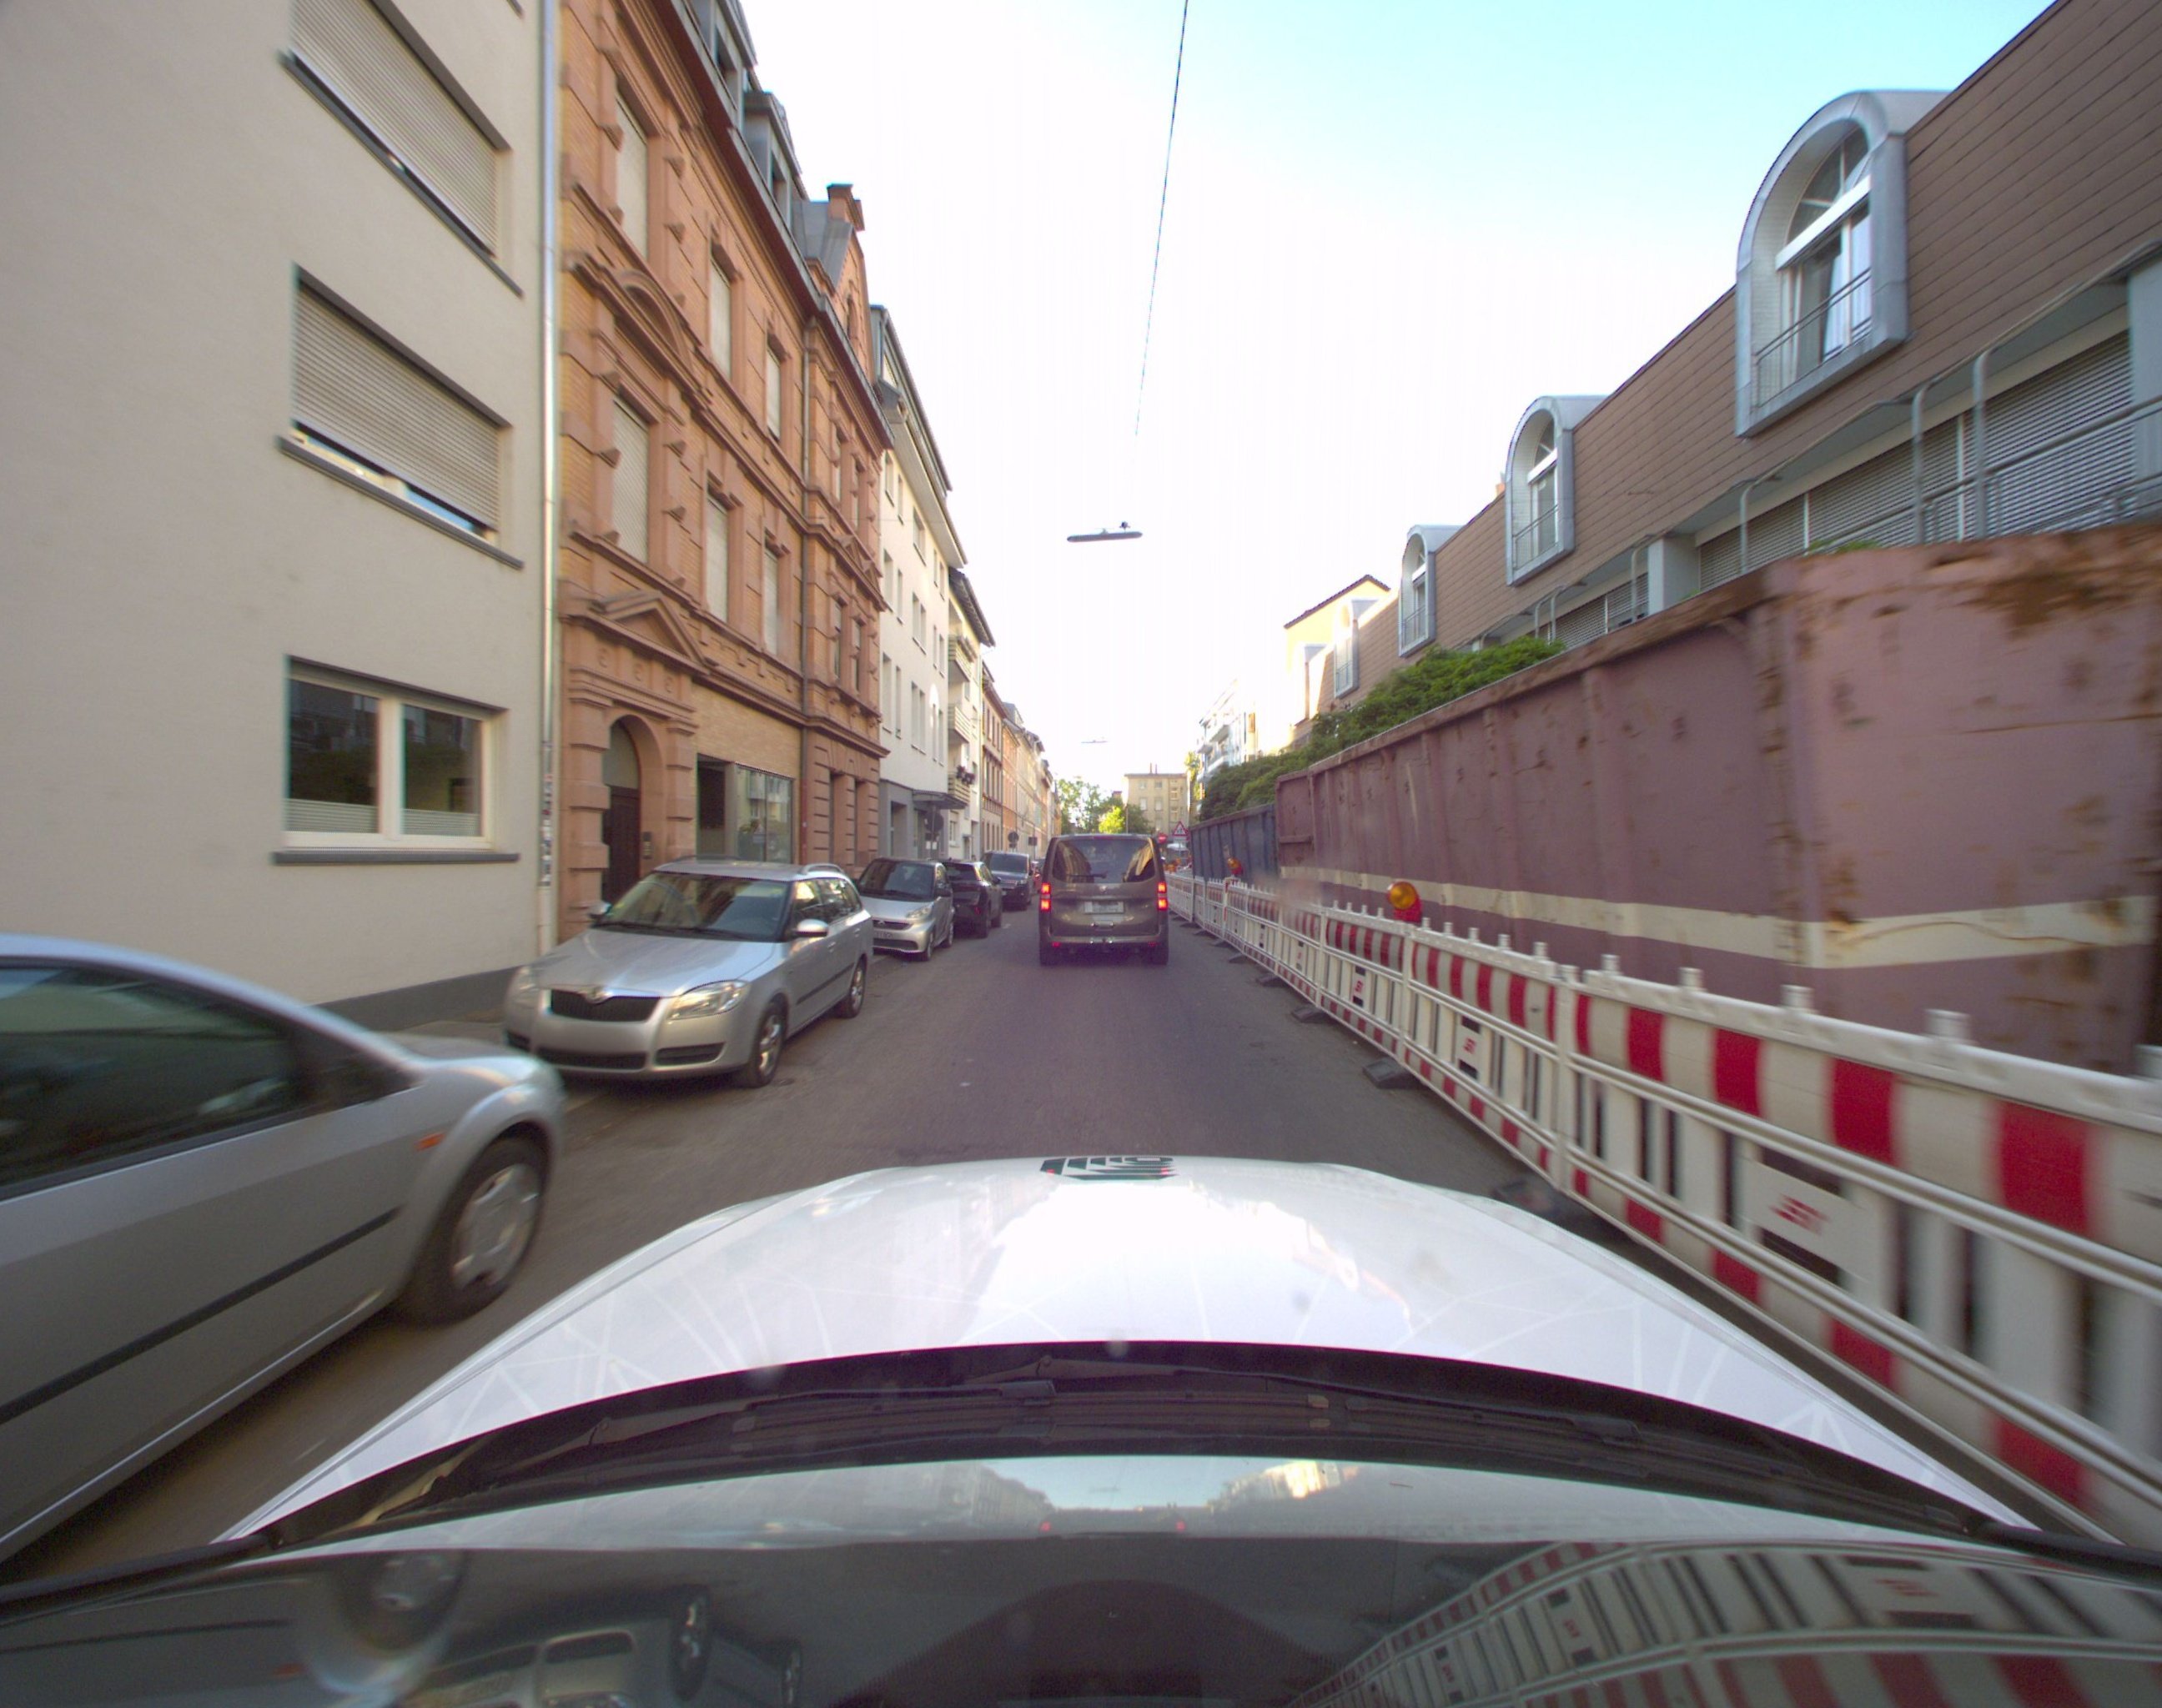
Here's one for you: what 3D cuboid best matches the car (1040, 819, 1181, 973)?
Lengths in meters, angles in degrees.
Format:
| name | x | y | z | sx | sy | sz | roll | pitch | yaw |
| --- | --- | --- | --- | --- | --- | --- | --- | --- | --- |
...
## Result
| name | x | y | z | sx | sy | sz | roll | pitch | yaw |
| --- | --- | --- | --- | --- | --- | --- | --- | --- | --- |
| car | 0.394 | 0.561 | 12.960 | 1.852 | 2.013 | 3.999 | -2 | 0 | 0 |

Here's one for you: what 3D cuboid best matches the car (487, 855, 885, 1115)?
| name | x | y | z | sx | sy | sz | roll | pitch | yaw |
| --- | --- | --- | --- | --- | --- | --- | --- | --- | --- |
| car | -2.879 | 0.821 | 6.859 | 1.551 | 1.508 | 3.596 | 4 | 0 | -1 |

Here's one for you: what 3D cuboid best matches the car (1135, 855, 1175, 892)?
| name | x | y | z | sx | sy | sz | roll | pitch | yaw |
| --- | --- | --- | --- | --- | --- | --- | --- | --- | --- |
| car | 3.593 | 0.908 | 40.128 | 1.742 | 1.683 | 4.528 | 1 | 0 | 2 |

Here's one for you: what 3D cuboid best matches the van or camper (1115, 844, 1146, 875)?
| name | x | y | z | sx | sy | sz | roll | pitch | yaw |
| --- | --- | --- | --- | --- | --- | --- | --- | --- | --- |
| van or camper | 4.394 | 0.463 | 73.480 | 2.093 | 2.602 | 7.508 | -1 | 0 | -1 |

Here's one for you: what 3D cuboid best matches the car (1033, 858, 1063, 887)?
| name | x | y | z | sx | sy | sz | roll | pitch | yaw |
| --- | --- | --- | --- | --- | --- | --- | --- | --- | --- |
| car | -2.072 | 1.145 | 51.738 | 1.706 | 1.644 | 3.978 | 3 | 0 | -1 |

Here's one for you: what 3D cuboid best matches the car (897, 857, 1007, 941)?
| name | x | y | z | sx | sy | sz | roll | pitch | yaw |
| --- | --- | --- | --- | --- | --- | --- | --- | --- | --- |
| car | -2.652 | 0.872 | 17.621 | 1.735 | 1.599 | 4.013 | 1 | 0 | 0 |

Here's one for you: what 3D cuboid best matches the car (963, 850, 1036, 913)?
| name | x | y | z | sx | sy | sz | roll | pitch | yaw |
| --- | --- | --- | --- | --- | --- | --- | --- | --- | --- |
| car | -2.562 | 0.835 | 26.752 | 1.988 | 1.858 | 4.583 | 1 | 0 | -1 |

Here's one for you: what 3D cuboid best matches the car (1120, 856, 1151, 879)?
| name | x | y | z | sx | sy | sz | roll | pitch | yaw |
| --- | --- | --- | --- | --- | --- | --- | --- | --- | --- |
| car | 3.800 | 0.928 | 57.372 | 1.718 | 1.612 | 4.584 | 0 | 0 | -2 |

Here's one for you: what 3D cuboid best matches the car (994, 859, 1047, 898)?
| name | x | y | z | sx | sy | sz | roll | pitch | yaw |
| --- | --- | --- | --- | --- | --- | --- | --- | --- | --- |
| car | -2.627 | 1.039 | 36.167 | 1.661 | 1.485 | 3.611 | 5 | 0 | 5 |

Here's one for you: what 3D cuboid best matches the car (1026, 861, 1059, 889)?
| name | x | y | z | sx | sy | sz | roll | pitch | yaw |
| --- | --- | --- | --- | --- | --- | --- | --- | --- | --- |
| car | -2.166 | 1.153 | 46.549 | 1.652 | 1.448 | 3.285 | 3 | 0 | -1 |

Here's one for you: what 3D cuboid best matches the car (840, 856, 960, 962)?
| name | x | y | z | sx | sy | sz | roll | pitch | yaw |
| --- | --- | --- | --- | --- | --- | --- | --- | --- | --- |
| car | -2.922 | 0.825 | 13.621 | 1.391 | 1.588 | 2.793 | 0 | 0 | 0 |

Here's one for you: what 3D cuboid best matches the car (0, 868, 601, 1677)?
| name | x | y | z | sx | sy | sz | roll | pitch | yaw |
| --- | --- | --- | --- | --- | --- | --- | --- | --- | --- |
| car | -2.764 | 0.769 | 1.545 | 1.627 | 1.430 | 3.553 | 0 | 0 | -1 |

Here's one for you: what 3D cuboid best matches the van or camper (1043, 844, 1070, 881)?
| name | x | y | z | sx | sy | sz | roll | pitch | yaw |
| --- | --- | --- | --- | --- | --- | --- | --- | --- | --- |
| van or camper | -1.858 | 0.660 | 63.189 | 1.944 | 2.649 | 7.136 | -1 | 0 | -1 |
